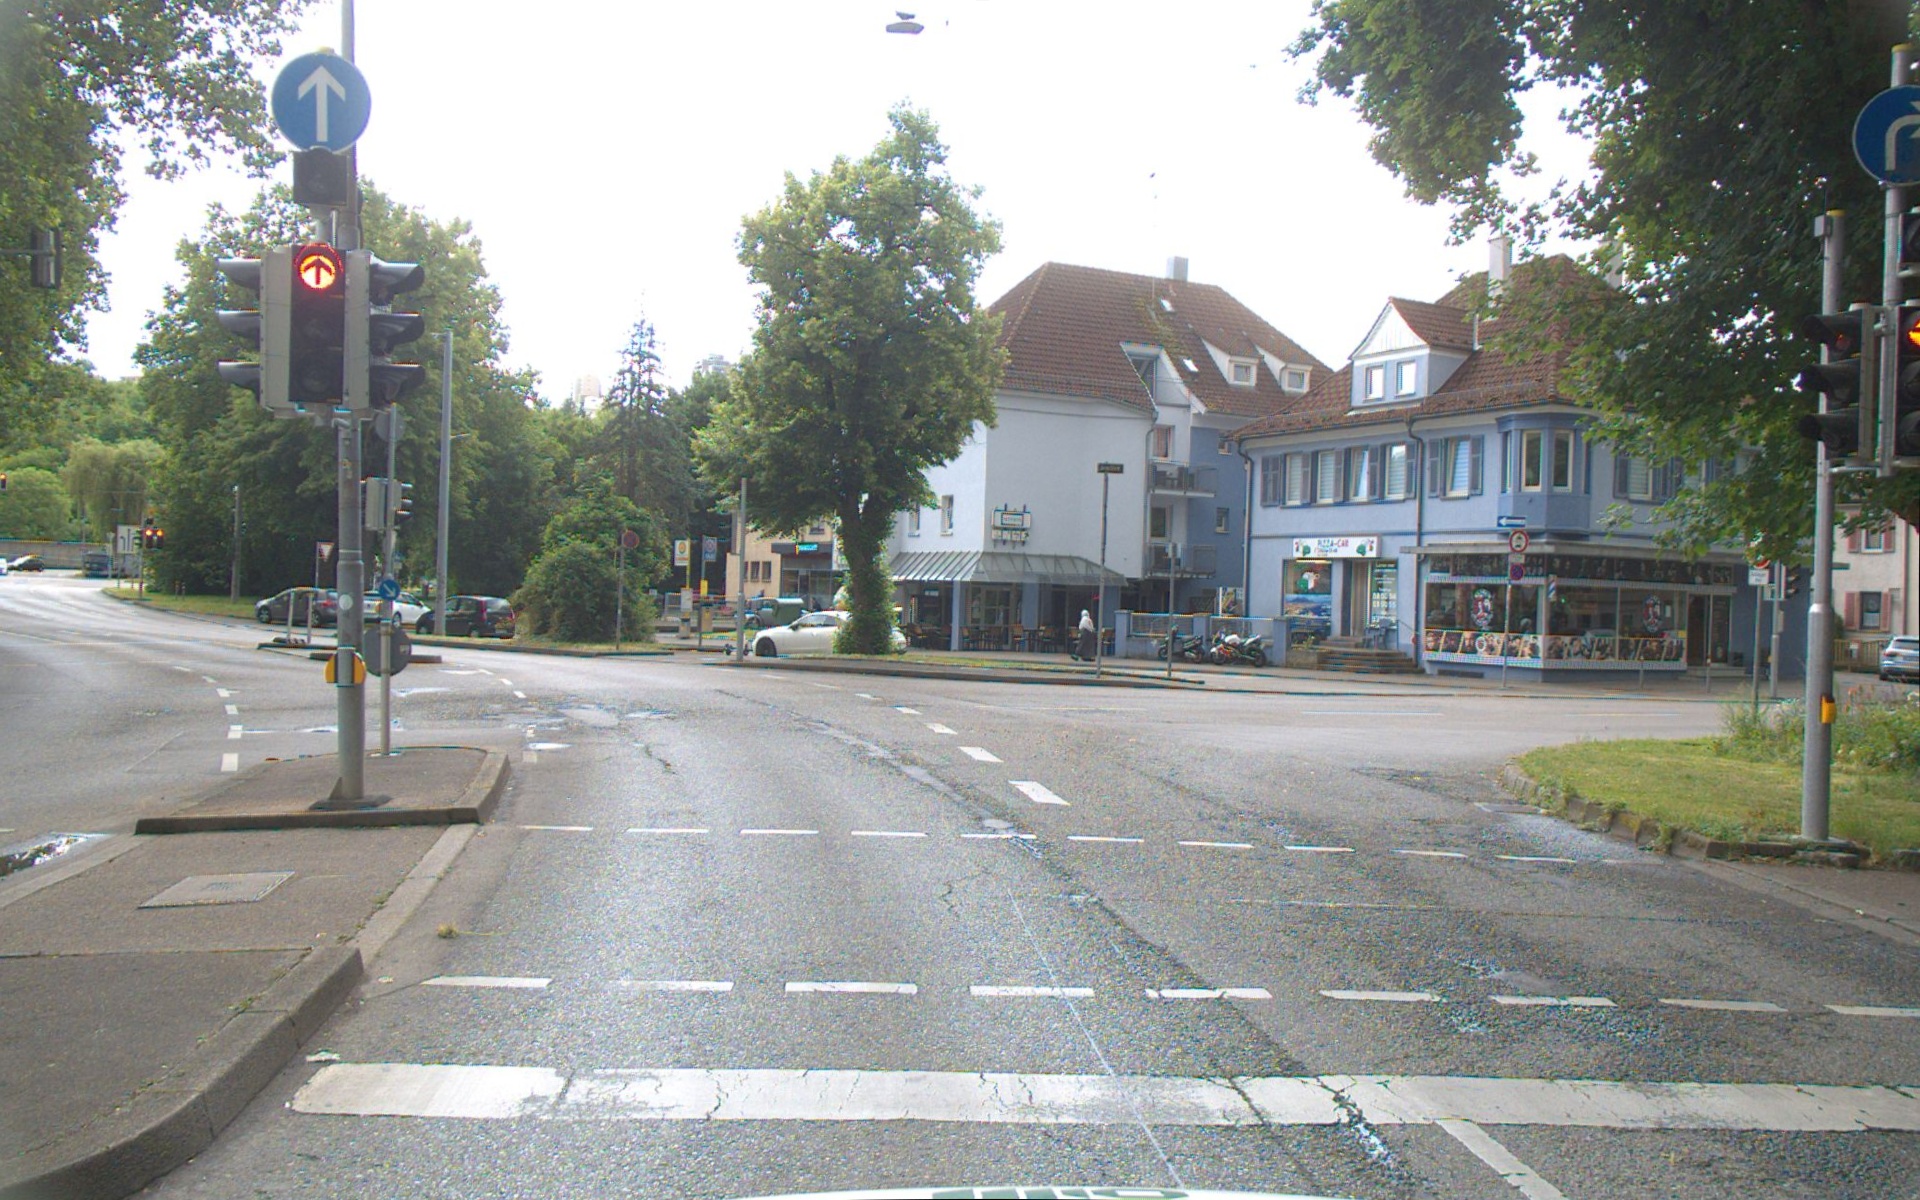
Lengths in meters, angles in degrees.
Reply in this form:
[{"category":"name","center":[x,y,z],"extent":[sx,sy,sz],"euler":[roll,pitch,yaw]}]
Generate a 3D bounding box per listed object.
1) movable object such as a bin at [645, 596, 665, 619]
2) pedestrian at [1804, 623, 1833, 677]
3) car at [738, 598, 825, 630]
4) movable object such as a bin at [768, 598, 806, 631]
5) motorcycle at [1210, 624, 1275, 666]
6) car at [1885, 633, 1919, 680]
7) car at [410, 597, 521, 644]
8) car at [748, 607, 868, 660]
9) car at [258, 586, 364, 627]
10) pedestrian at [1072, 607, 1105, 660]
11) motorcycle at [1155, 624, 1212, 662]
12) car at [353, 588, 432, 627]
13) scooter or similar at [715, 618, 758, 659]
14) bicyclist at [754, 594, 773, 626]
[{"category":"movable object such as a bin","center":[-15.855,0.387,85.918],"extent":[0.937,1.135,0.381],"euler":[1,0,-22]},{"category":"pedestrian","center":[24.726,1.426,47.616],"extent":[0.451,1.544,0.584],"euler":[1,-1,-21]},{"category":"car","center":[-8.159,0.635,75.736],"extent":[3.690,1.368,1.421],"euler":[1,0,-27]},{"category":"movable object such as a bin","center":[-7.719,0.652,73.846],"extent":[1.424,1.433,0.959],"euler":[1,0,-27]},{"category":"motorcycle","center":[8.273,1.308,48.486],"extent":[1.765,1.141,0.692],"euler":[1,0,38]},{"category":"car","center":[29.852,1.736,51.421],"extent":[1.471,1.393,3.164],"euler":[1,0,38]},{"category":"car","center":[-16.007,0.655,53.466],"extent":[3.519,1.418,1.468],"euler":[1,0,32]},{"category":"car","center":[-4.244,0.914,45.963],"extent":[3.110,1.378,1.435],"euler":[1,0,34]},{"category":"car","center":[-24.860,0.239,63.397],"extent":[3.469,1.490,1.586],"euler":[1,0,12]},{"category":"pedestrian","center":[3.925,1.019,50.580],"extent":[0.754,1.572,0.675],"euler":[1,0,38]},{"category":"motorcycle","center":[6.793,1.290,50.242],"extent":[1.609,1.082,0.690],"euler":[1,0,44]},{"category":"car","center":[-22.669,0.301,66.187],"extent":[1.512,1.490,3.398],"euler":[1,0,10]},{"category":"scooter or similar","center":[-5.729,0.980,42.546],"extent":[0.408,1.029,1.567],"euler":[1,0,20]},{"category":"bicyclist","center":[-10.016,0.510,84.284],"extent":[0.594,1.568,0.729],"euler":[1,0,-40]}]
